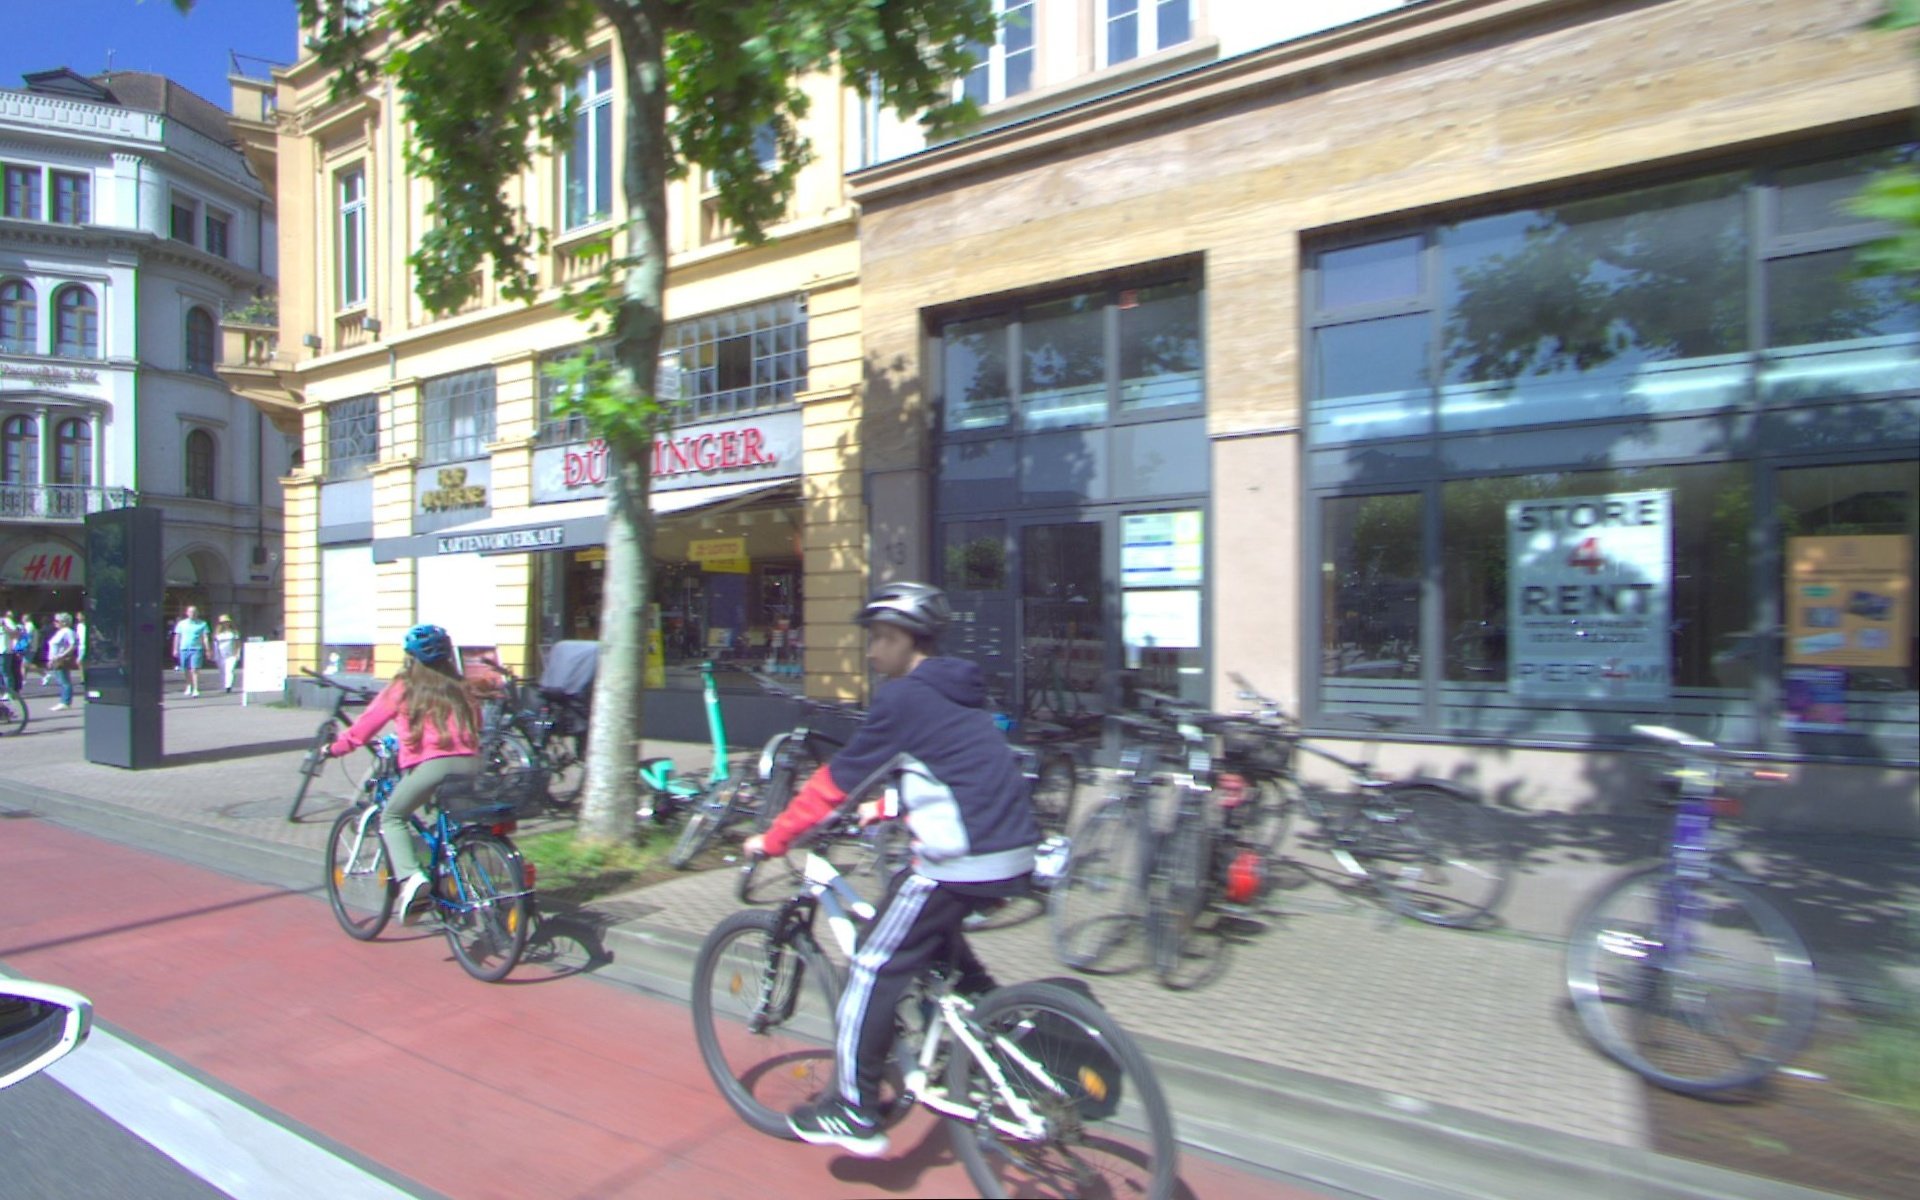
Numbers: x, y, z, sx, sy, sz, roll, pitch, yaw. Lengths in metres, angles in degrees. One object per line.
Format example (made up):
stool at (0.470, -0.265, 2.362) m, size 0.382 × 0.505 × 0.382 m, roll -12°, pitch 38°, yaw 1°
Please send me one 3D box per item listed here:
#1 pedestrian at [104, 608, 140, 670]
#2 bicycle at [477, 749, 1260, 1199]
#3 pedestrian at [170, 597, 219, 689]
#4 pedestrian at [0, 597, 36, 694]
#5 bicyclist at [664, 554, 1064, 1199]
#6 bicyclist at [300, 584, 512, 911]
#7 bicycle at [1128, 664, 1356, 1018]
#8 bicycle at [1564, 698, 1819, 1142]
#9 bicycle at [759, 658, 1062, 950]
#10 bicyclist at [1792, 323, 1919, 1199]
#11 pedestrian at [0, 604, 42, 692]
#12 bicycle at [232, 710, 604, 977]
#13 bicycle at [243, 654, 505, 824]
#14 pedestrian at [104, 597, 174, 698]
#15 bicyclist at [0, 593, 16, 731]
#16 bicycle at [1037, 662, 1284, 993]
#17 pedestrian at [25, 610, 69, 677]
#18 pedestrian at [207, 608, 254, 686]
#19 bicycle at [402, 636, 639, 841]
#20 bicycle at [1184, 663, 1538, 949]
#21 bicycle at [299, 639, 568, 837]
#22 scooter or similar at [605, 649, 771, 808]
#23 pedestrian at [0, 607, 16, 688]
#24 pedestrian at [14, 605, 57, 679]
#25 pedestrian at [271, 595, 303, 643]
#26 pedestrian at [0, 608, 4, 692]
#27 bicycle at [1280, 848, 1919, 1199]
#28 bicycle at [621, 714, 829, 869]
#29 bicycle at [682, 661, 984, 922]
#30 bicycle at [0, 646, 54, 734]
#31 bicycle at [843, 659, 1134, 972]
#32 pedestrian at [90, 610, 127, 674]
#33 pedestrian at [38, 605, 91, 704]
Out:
pedestrian at (-24.535, 1.127, 29.334) m, size 0.668 × 1.786 × 0.609 m, roll -1°, pitch -1°, yaw 30°
bicycle at (-0.313, 1.067, 2.696) m, size 2.049 × 1.141 × 0.698 m, roll 0°, pitch -2°, yaw 29°
pedestrian at (-15.448, 0.850, 20.225) m, size 0.578 × 1.825 × 0.550 m, roll -1°, pitch 0°, yaw -12°
pedestrian at (-18.486, 0.880, 19.530) m, size 0.632 × 1.847 × 0.521 m, roll -1°, pitch 0°, yaw 32°
bicyclist at (-0.227, 0.650, 2.663) m, size 0.778 × 1.458 × 0.698 m, roll 0°, pitch -2°, yaw 29°
bicyclist at (-2.576, 0.642, 4.667) m, size 0.711 × 1.375 × 0.599 m, roll -2°, pitch -2°, yaw 32°
bicycle at (1.303, 0.915, 4.405) m, size 0.468 × 1.216 × 1.645 m, roll 0°, pitch -2°, yaw 34°
bicycle at (2.573, 0.960, 3.604) m, size 0.598 × 1.109 × 1.645 m, roll 0°, pitch -2°, yaw 34°
bicycle at (-0.171, 0.932, 5.254) m, size 0.600 × 1.216 × 1.840 m, roll 0°, pitch -2°, yaw 34°
bicyclist at (1.390, 0.466, 0.830) m, size 0.946 × 1.464 × 0.698 m, roll 0°, pitch -2°, yaw 29°
pedestrian at (-18.842, 0.945, 20.069) m, size 0.528 × 1.725 × 0.521 m, roll -1°, pitch 0°, yaw 33°
bicycle at (-2.577, 1.023, 4.660) m, size 2.058 × 0.937 × 0.599 m, roll -2°, pitch -2°, yaw 32°
bicycle at (-4.603, 1.036, 8.007) m, size 0.554 × 1.137 × 1.780 m, roll 0°, pitch -1°, yaw 29°
pedestrian at (-15.222, 0.886, 18.568) m, size 1.216 × 1.812 × 0.656 m, roll -2°, pitch -2°, yaw 32°
bicyclist at (-13.074, 0.823, 13.098) m, size 0.840 × 1.821 × 0.575 m, roll 0°, pitch 1°, yaw -3°
bicycle at (1.027, 0.924, 4.732) m, size 0.468 × 1.216 × 1.840 m, roll 0°, pitch -2°, yaw 34°
pedestrian at (-22.847, 1.087, 25.066) m, size 0.667 × 1.640 × 0.609 m, roll 2°, pitch 0°, yaw 30°
pedestrian at (-15.054, 0.960, 20.676) m, size 0.578 × 1.590 × 0.550 m, roll -1°, pitch 0°, yaw -12°
bicycle at (-3.198, 0.936, 7.508) m, size 0.676 × 1.325 × 1.826 m, roll 0°, pitch -1°, yaw 12°
bicycle at (1.993, 0.952, 5.152) m, size 1.637 × 1.203 × 0.470 m, roll -1°, pitch -2°, yaw 44°
bicycle at (-3.857, 0.938, 7.563) m, size 0.692 × 1.273 × 1.938 m, roll 0°, pitch -1°, yaw 13°
scooter or similar at (-2.166, 1.001, 8.012) m, size 1.208 × 1.193 × 0.422 m, roll 0°, pitch -1°, yaw 12°
pedestrian at (-19.473, 0.951, 20.155) m, size 0.632 × 1.630 × 0.521 m, roll -1°, pitch 0°, yaw 32°
pedestrian at (-23.077, 1.042, 24.999) m, size 0.668 × 1.830 × 0.609 m, roll -1°, pitch -1°, yaw 30°
pedestrian at (-23.430, 0.662, 34.862) m, size 0.557 × 1.620 × 0.660 m, roll 1°, pitch -1°, yaw 6°
pedestrian at (-18.985, 0.973, 19.393) m, size 0.632 × 1.633 × 0.521 m, roll -1°, pitch 0°, yaw 32°
bicycle at (1.381, 0.951, 0.821) m, size 2.049 × 1.141 × 0.698 m, roll 0°, pitch -2°, yaw 29°
bicycle at (-1.487, 1.209, 6.712) m, size 0.646 × 0.725 × 1.849 m, roll 0°, pitch -2°, yaw 11°
bicycle at (-0.633, 0.965, 5.687) m, size 0.650 × 1.179 × 1.840 m, roll 0°, pitch -2°, yaw 34°
bicycle at (-13.075, 1.182, 13.111) m, size 1.804 × 1.097 × 0.602 m, roll 0°, pitch 1°, yaw -3°
bicycle at (0.231, 0.921, 4.956) m, size 0.537 × 1.216 × 1.840 m, roll 0°, pitch -2°, yaw 34°
pedestrian at (-22.409, 1.108, 26.358) m, size 0.668 × 1.654 × 0.539 m, roll -1°, pitch -2°, yaw 30°
pedestrian at (-15.507, 0.930, 17.345) m, size 0.581 × 1.661 × 0.547 m, roll -1°, pitch 0°, yaw 35°
